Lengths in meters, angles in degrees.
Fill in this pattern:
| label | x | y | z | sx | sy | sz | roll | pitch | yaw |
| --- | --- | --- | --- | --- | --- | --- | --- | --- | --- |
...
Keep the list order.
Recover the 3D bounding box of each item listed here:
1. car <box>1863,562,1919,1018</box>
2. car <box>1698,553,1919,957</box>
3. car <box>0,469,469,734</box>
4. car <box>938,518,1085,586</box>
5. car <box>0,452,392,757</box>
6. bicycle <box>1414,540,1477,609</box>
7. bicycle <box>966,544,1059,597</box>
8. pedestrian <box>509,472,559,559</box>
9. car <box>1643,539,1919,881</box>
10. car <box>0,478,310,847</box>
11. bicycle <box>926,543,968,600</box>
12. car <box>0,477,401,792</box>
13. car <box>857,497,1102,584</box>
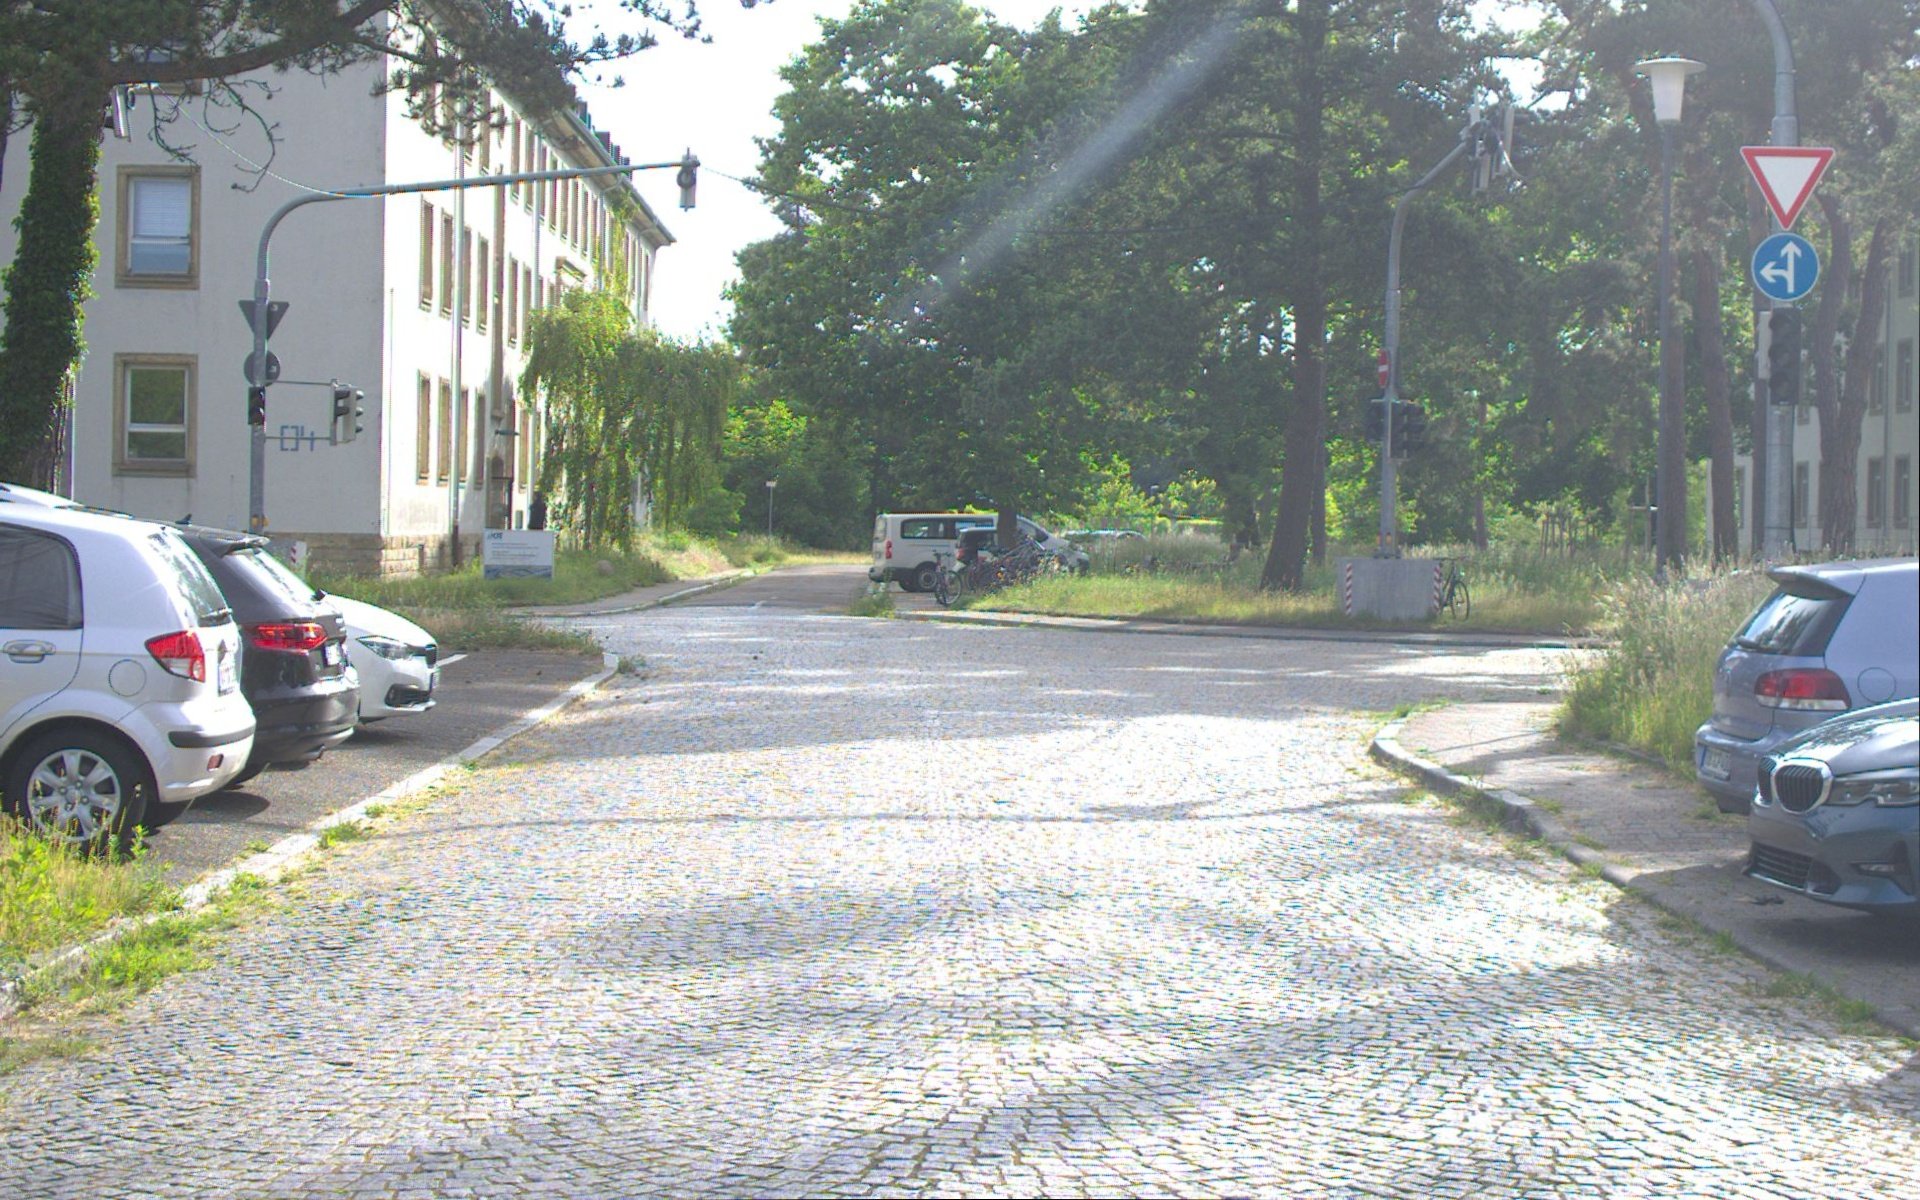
| label | x | y | z | sx | sy | sz | roll | pitch | yaw |
| --- | --- | --- | --- | --- | --- | --- | --- | --- | --- |
| car | 5.362 | 0.654 | 10.829 | 4.506 | 1.468 | 1.850 | 1 | 1 | -1 |
| car | 5.420 | 0.584 | 13.609 | 4.506 | 1.468 | 1.895 | 1 | 1 | -5 |
| car | -5.741 | -0.071 | 23.108 | 4.586 | 1.450 | 1.904 | 4 | 2 | -3 |
| car | 1.188 | -1.108 | 79.633 | 3.031 | 1.460 | 1.720 | 2 | 0 | -13 |
| car | -5.602 | -0.064 | 20.567 | 4.120 | 1.594 | 1.859 | 4 | 1 | -5 |
| bicycle | 7.502 | -0.400 | 53.162 | 0.562 | 0.995 | 1.752 | 1 | 2 | -5 |
| bicycle | 1.035 | -0.589 | 68.288 | 1.792 | 0.995 | 0.644 | 1 | 2 | -2 |
| pedestrian | -9.843 | -1.947 | 79.480 | 0.985 | 1.956 | 0.933 | 2 | 1 | -1 |
| car | 5.723 | 0.507 | 16.237 | 4.543 | 1.500 | 1.933 | 1 | 1 | -3 |
| car | -4.917 | 0.147 | 15.227 | 3.683 | 1.468 | 1.850 | 4 | 1 | -2 |
| bicycle | -0.247 | -0.537 | 63.662 | 0.728 | 0.995 | 1.799 | 1 | 2 | -1 |
| car | -5.003 | 0.077 | 17.881 | 3.828 | 1.424 | 1.859 | 4 | 1 | -2 |
| car | 0.458 | -1.436 | 83.188 | 5.499 | 1.909 | 2.255 | 2 | 1 | -14 |
